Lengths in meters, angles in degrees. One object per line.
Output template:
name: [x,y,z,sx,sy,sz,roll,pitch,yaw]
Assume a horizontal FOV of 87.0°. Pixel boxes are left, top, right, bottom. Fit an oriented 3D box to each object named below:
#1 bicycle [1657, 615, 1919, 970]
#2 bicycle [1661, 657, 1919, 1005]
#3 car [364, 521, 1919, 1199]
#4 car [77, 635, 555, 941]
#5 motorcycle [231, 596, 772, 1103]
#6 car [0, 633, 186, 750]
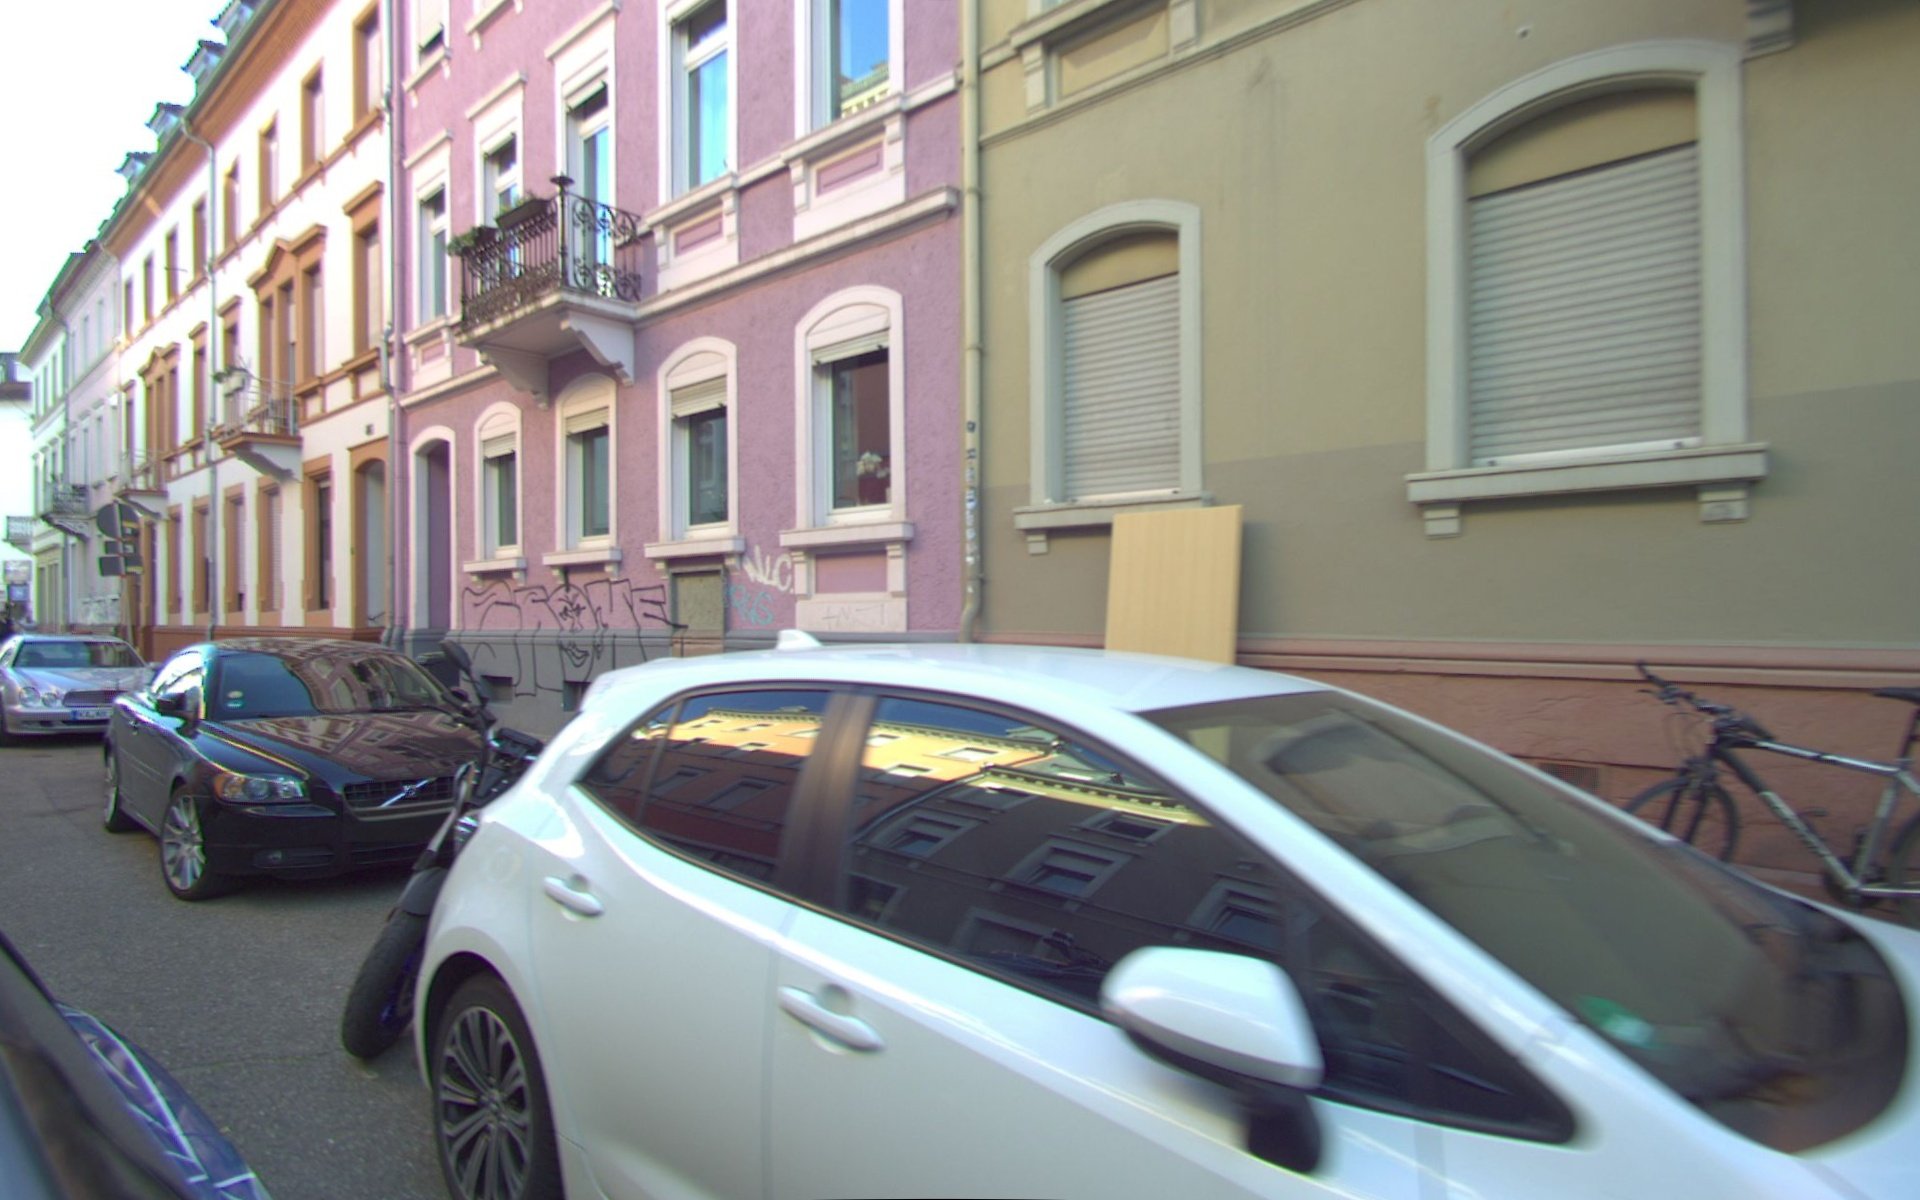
bicycle: [3.536,0.695,3.774,1.494,1.269,0.315,-1,-1,41]
bicycle: [3.328,0.774,3.446,1.494,1.110,0.413,-1,-1,41]
car: [0.530,0.716,2.099,4.197,1.473,1.769,-2,-2,41]
car: [-4.545,0.952,6.833,4.303,1.401,1.707,-2,-3,43]
motorcycle: [-1.651,0.753,4.091,0.818,1.490,1.954,-2,0,21]
car: [-12.216,1.131,13.812,4.378,1.353,1.748,-1,-3,41]
